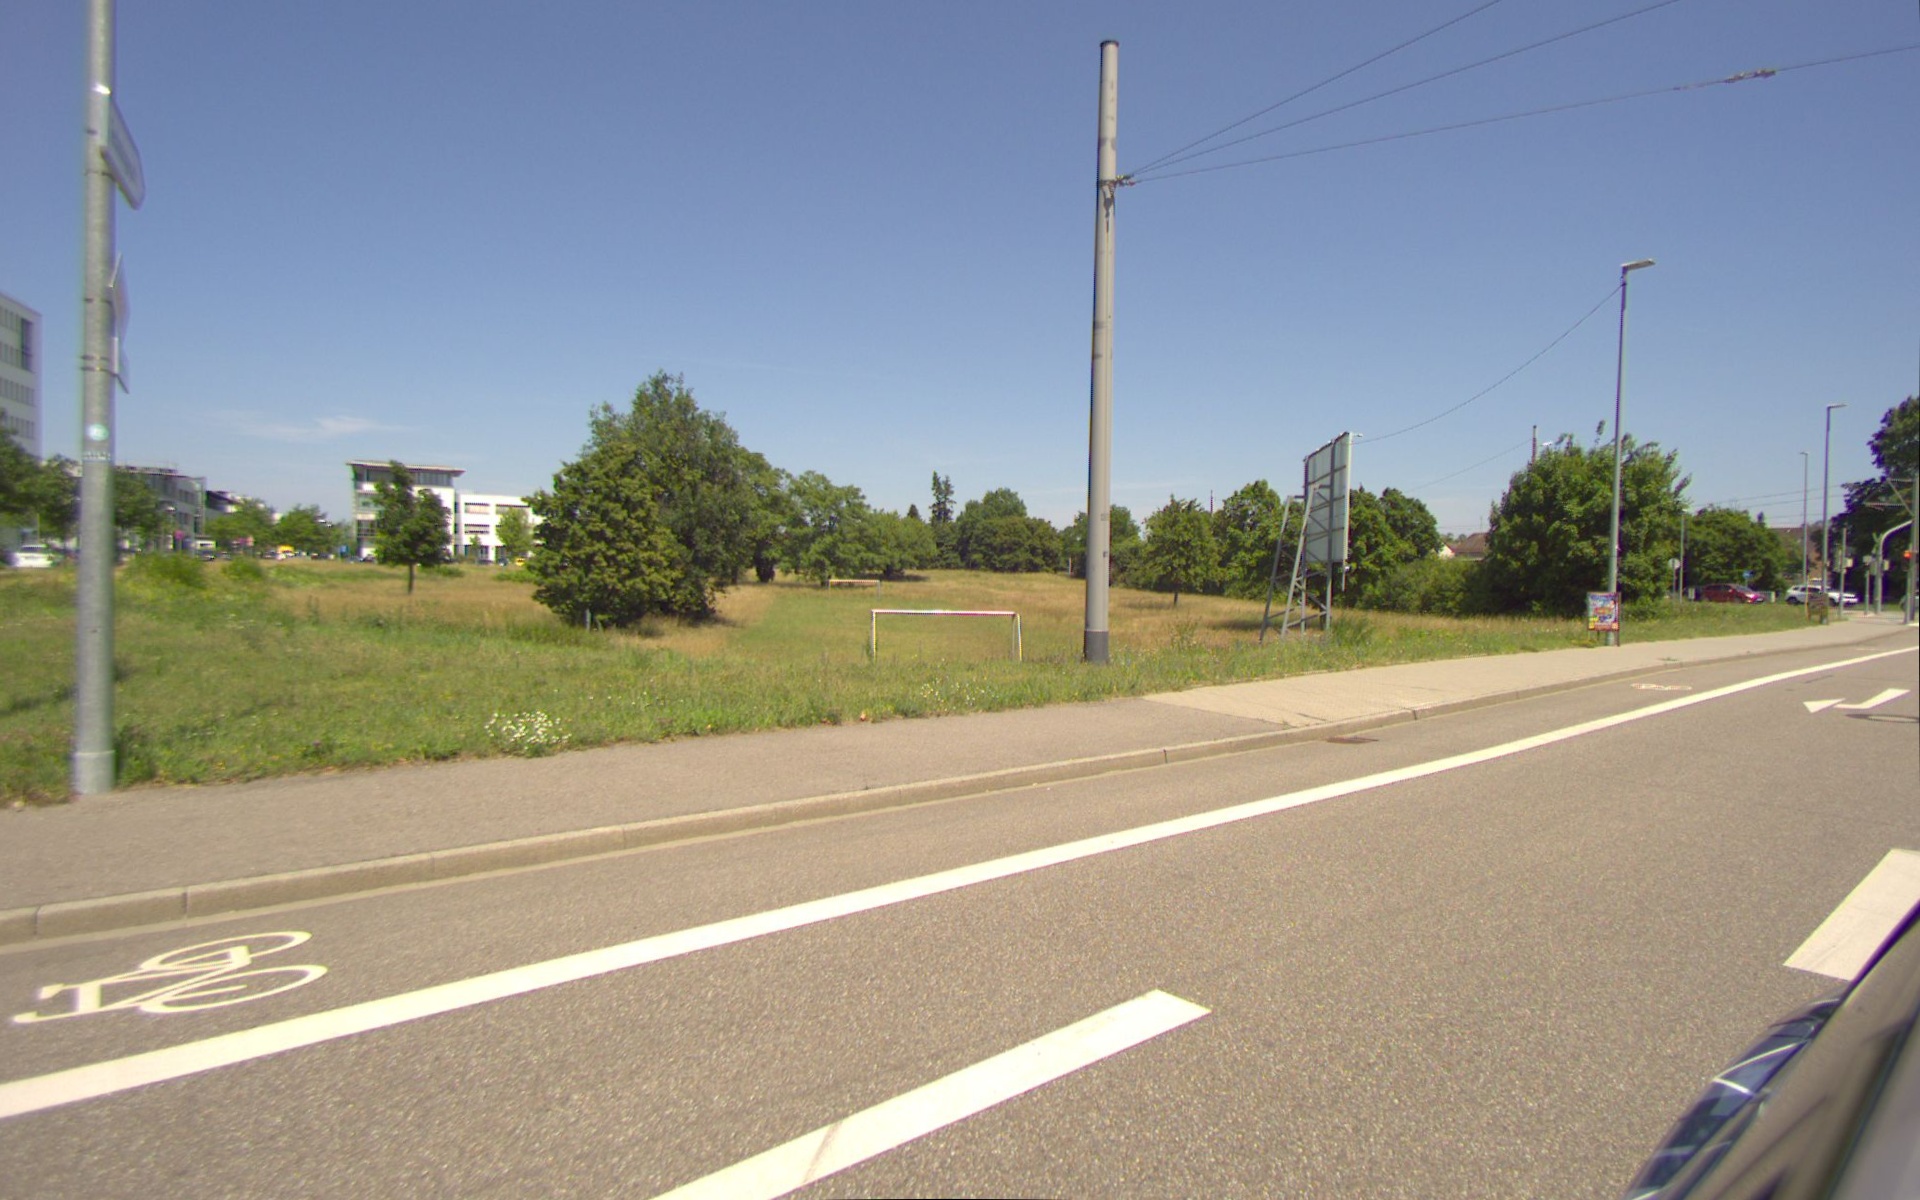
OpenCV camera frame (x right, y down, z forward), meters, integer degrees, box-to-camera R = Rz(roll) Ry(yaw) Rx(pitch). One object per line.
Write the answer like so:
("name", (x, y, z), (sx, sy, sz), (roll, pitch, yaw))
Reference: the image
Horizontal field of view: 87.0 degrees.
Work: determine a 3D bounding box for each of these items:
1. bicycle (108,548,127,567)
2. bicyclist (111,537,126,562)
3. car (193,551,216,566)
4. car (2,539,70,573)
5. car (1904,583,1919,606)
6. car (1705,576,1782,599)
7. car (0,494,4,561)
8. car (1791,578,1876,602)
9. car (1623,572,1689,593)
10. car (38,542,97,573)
("bicycle", (-57.406, -2.893, 68.997), (0.601, 1.195, 1.968), (3, 1, -29))
("bicyclist", (-57.375, -3.443, 69.014), (0.597, 1.644, 0.694), (3, 1, -29))
("car", (-92.384, -5.057, 123.778), (1.671, 1.552, 3.632), (4, -2, -28))
("car", (-46.473, -2.166, 50.955), (1.671, 1.552, 3.632), (0, 0, -28))
("car", (60.951, -0.283, 61.888), (1.836, 1.406, 4.420), (2, 2, -9))
("car", (58.654, -0.951, 75.885), (1.836, 1.595, 4.420), (2, 2, -9))
("car", (-39.996, -2.955, 39.246), (2.615, 2.836, 6.862), (-1, 2, -29))
("car", (62.609, -0.733, 72.670), (1.836, 1.595, 4.420), (2, 2, -9))
("car", (57.269, -1.488, 83.385), (1.836, 1.595, 4.420), (2, 2, -9))
("car", (-49.074, -2.309, 55.712), (1.671, 1.552, 3.632), (0, 0, -28))
